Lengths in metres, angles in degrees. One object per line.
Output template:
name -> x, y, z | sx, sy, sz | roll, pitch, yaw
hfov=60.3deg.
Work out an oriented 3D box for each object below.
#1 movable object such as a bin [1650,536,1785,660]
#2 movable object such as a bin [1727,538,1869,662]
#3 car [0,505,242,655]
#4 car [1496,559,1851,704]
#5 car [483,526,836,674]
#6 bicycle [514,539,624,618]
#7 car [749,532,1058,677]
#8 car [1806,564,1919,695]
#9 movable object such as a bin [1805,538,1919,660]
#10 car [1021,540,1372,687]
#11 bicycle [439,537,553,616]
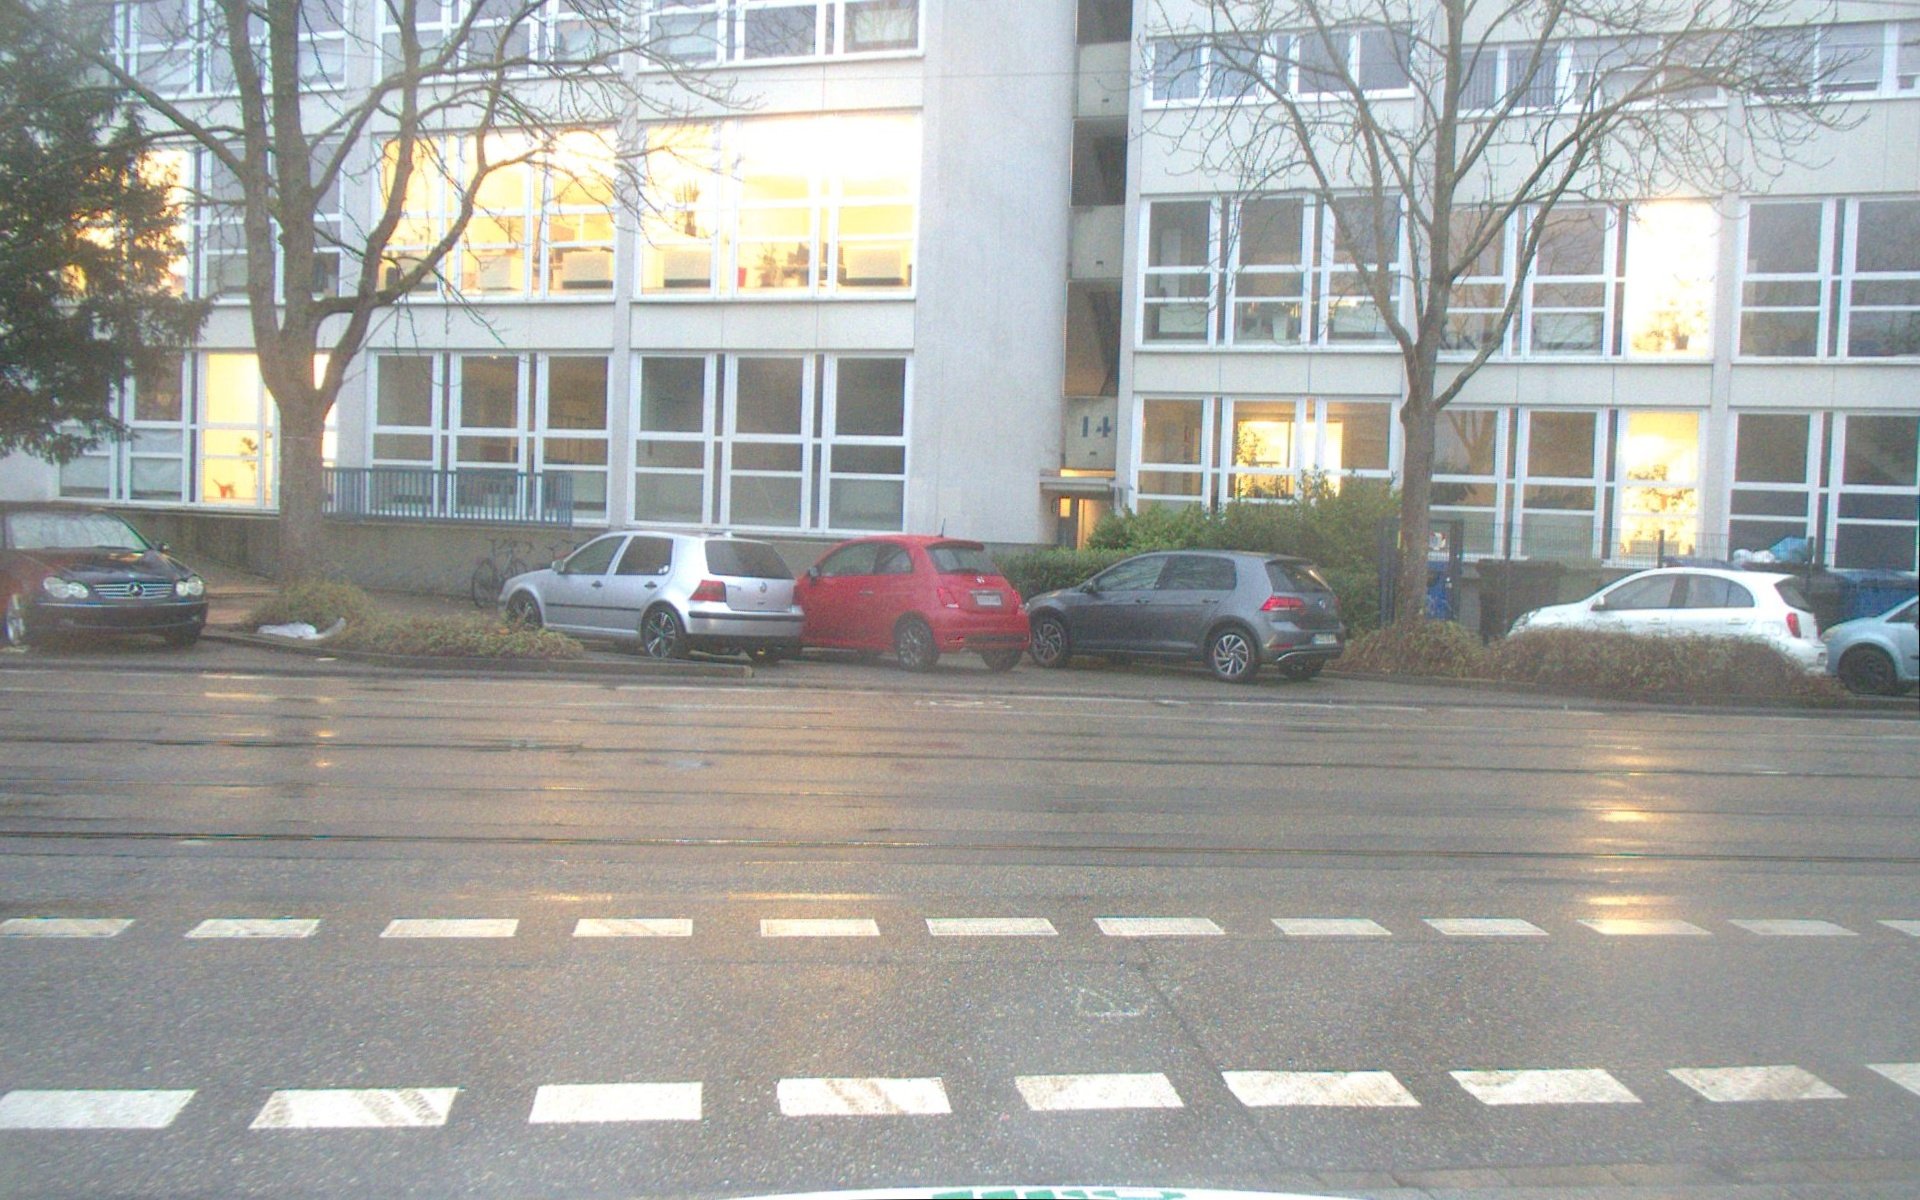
movable object such as a bin -> 11.917, -0.050, 26.075 | 1.288, 1.892, 1.573 | 0, 2, -6
movable object such as a bin -> 13.273, -0.025, 26.251 | 1.362, 1.892, 1.573 | 0, 2, -6
car -> -9.398, -0.267, 17.466 | 3.928, 1.402, 1.846 | 3, 2, 41
car -> 8.953, 0.323, 20.889 | 3.803, 1.578, 1.685 | 3, 2, 38
car -> -3.474, -0.068, 18.839 | 3.922, 1.471, 1.785 | 3, 2, 37
bicycle -> -5.887, -0.340, 25.020 | 0.626, 1.140, 2.207 | 2, 2, 15
car -> -0.712, -0.009, 19.476 | 3.389, 1.518, 1.720 | 3, 2, 41
car -> 12.943, 0.400, 20.646 | 3.928, 1.590, 1.727 | 3, 2, 41
movable object such as a bin -> 14.588, -0.038, 26.398 | 1.288, 1.892, 1.573 | 0, 2, -6
car -> 2.734, 0.093, 19.550 | 3.782, 1.518, 1.688 | 3, 2, 39
bicycle -> -7.061, -0.379, 25.308 | 0.626, 1.140, 2.207 | 2, 2, 15
